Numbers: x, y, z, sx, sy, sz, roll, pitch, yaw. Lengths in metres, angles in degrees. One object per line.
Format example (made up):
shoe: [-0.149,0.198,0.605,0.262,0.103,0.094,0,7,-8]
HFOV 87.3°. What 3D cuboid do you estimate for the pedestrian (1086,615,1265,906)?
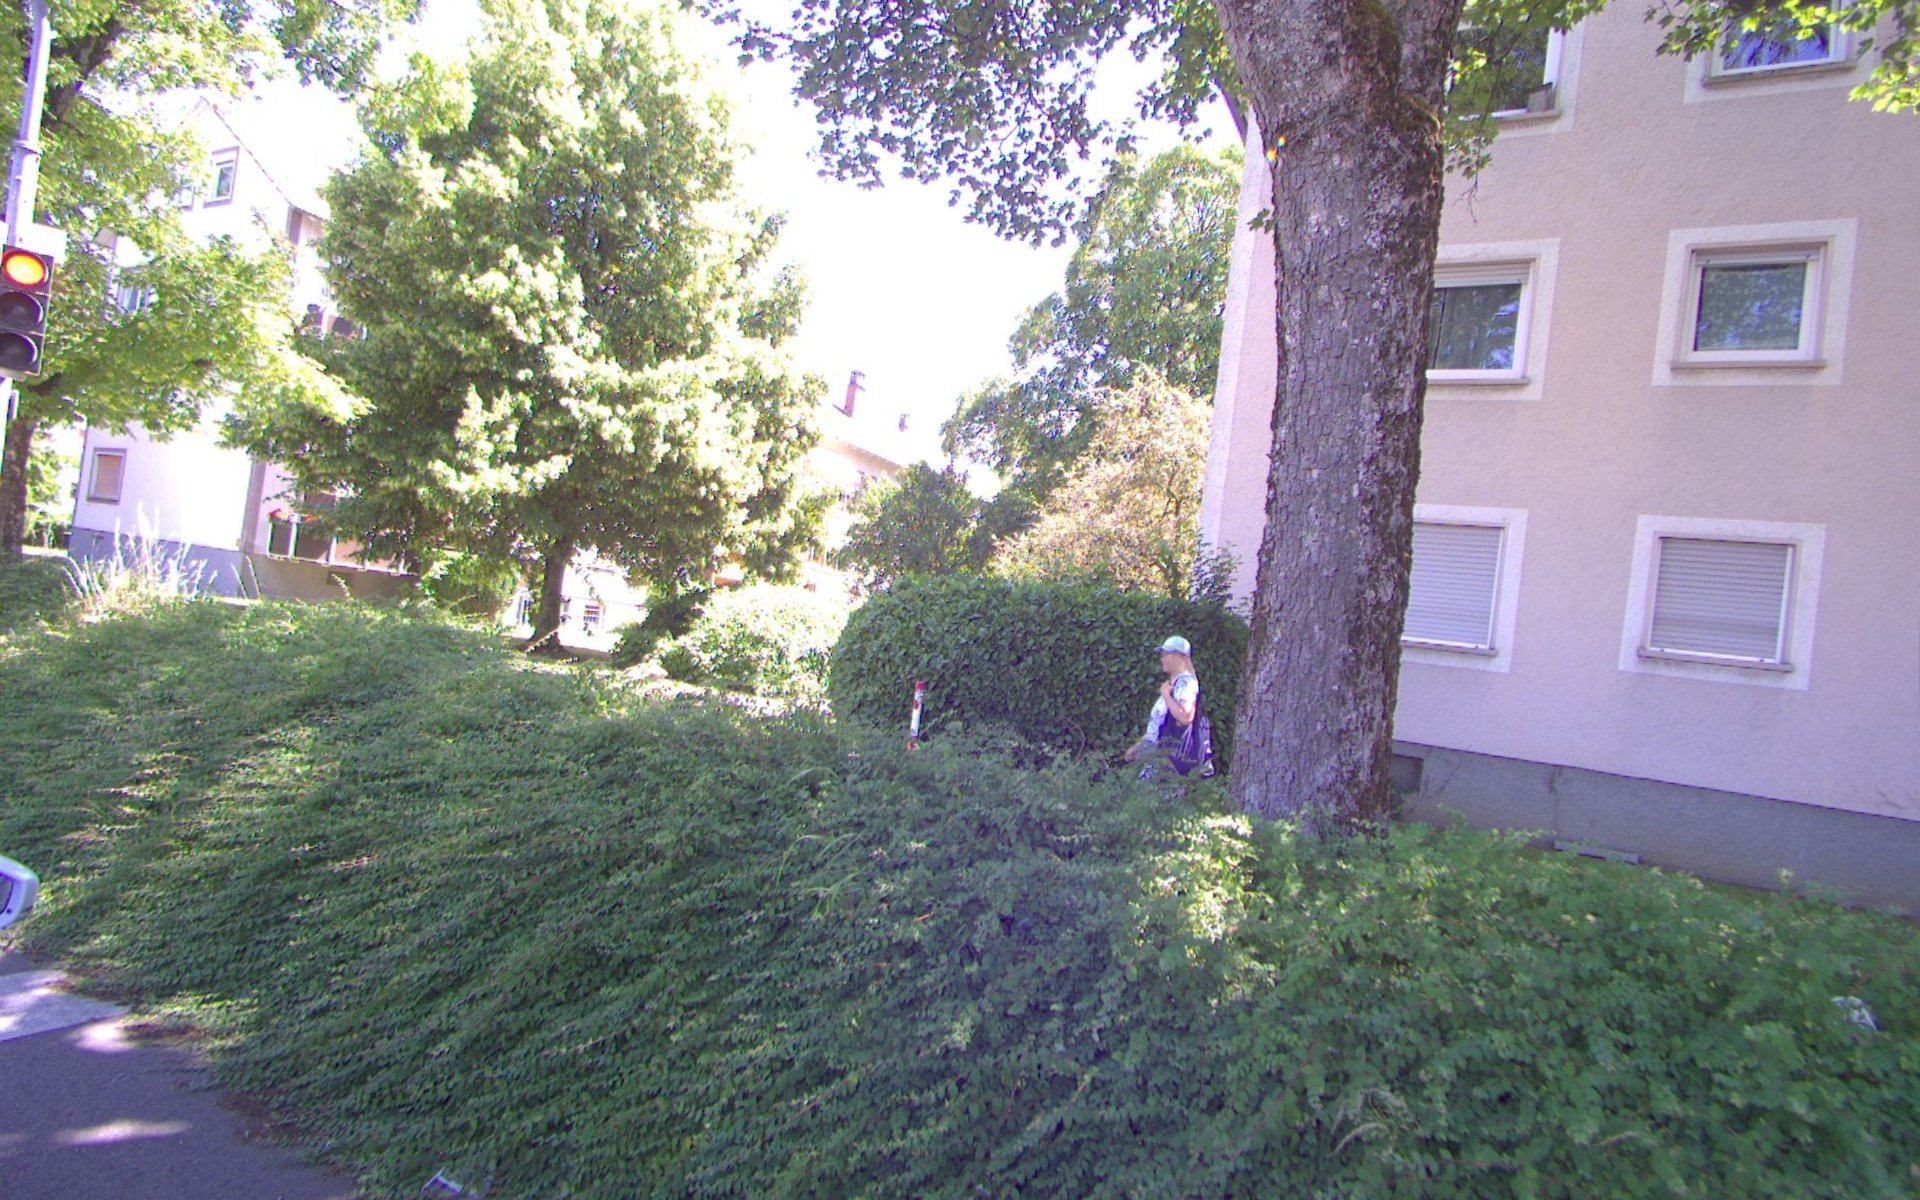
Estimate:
pedestrian: [1.405,0.986,6.489,0.836,1.653,0.720,7,0,23]
